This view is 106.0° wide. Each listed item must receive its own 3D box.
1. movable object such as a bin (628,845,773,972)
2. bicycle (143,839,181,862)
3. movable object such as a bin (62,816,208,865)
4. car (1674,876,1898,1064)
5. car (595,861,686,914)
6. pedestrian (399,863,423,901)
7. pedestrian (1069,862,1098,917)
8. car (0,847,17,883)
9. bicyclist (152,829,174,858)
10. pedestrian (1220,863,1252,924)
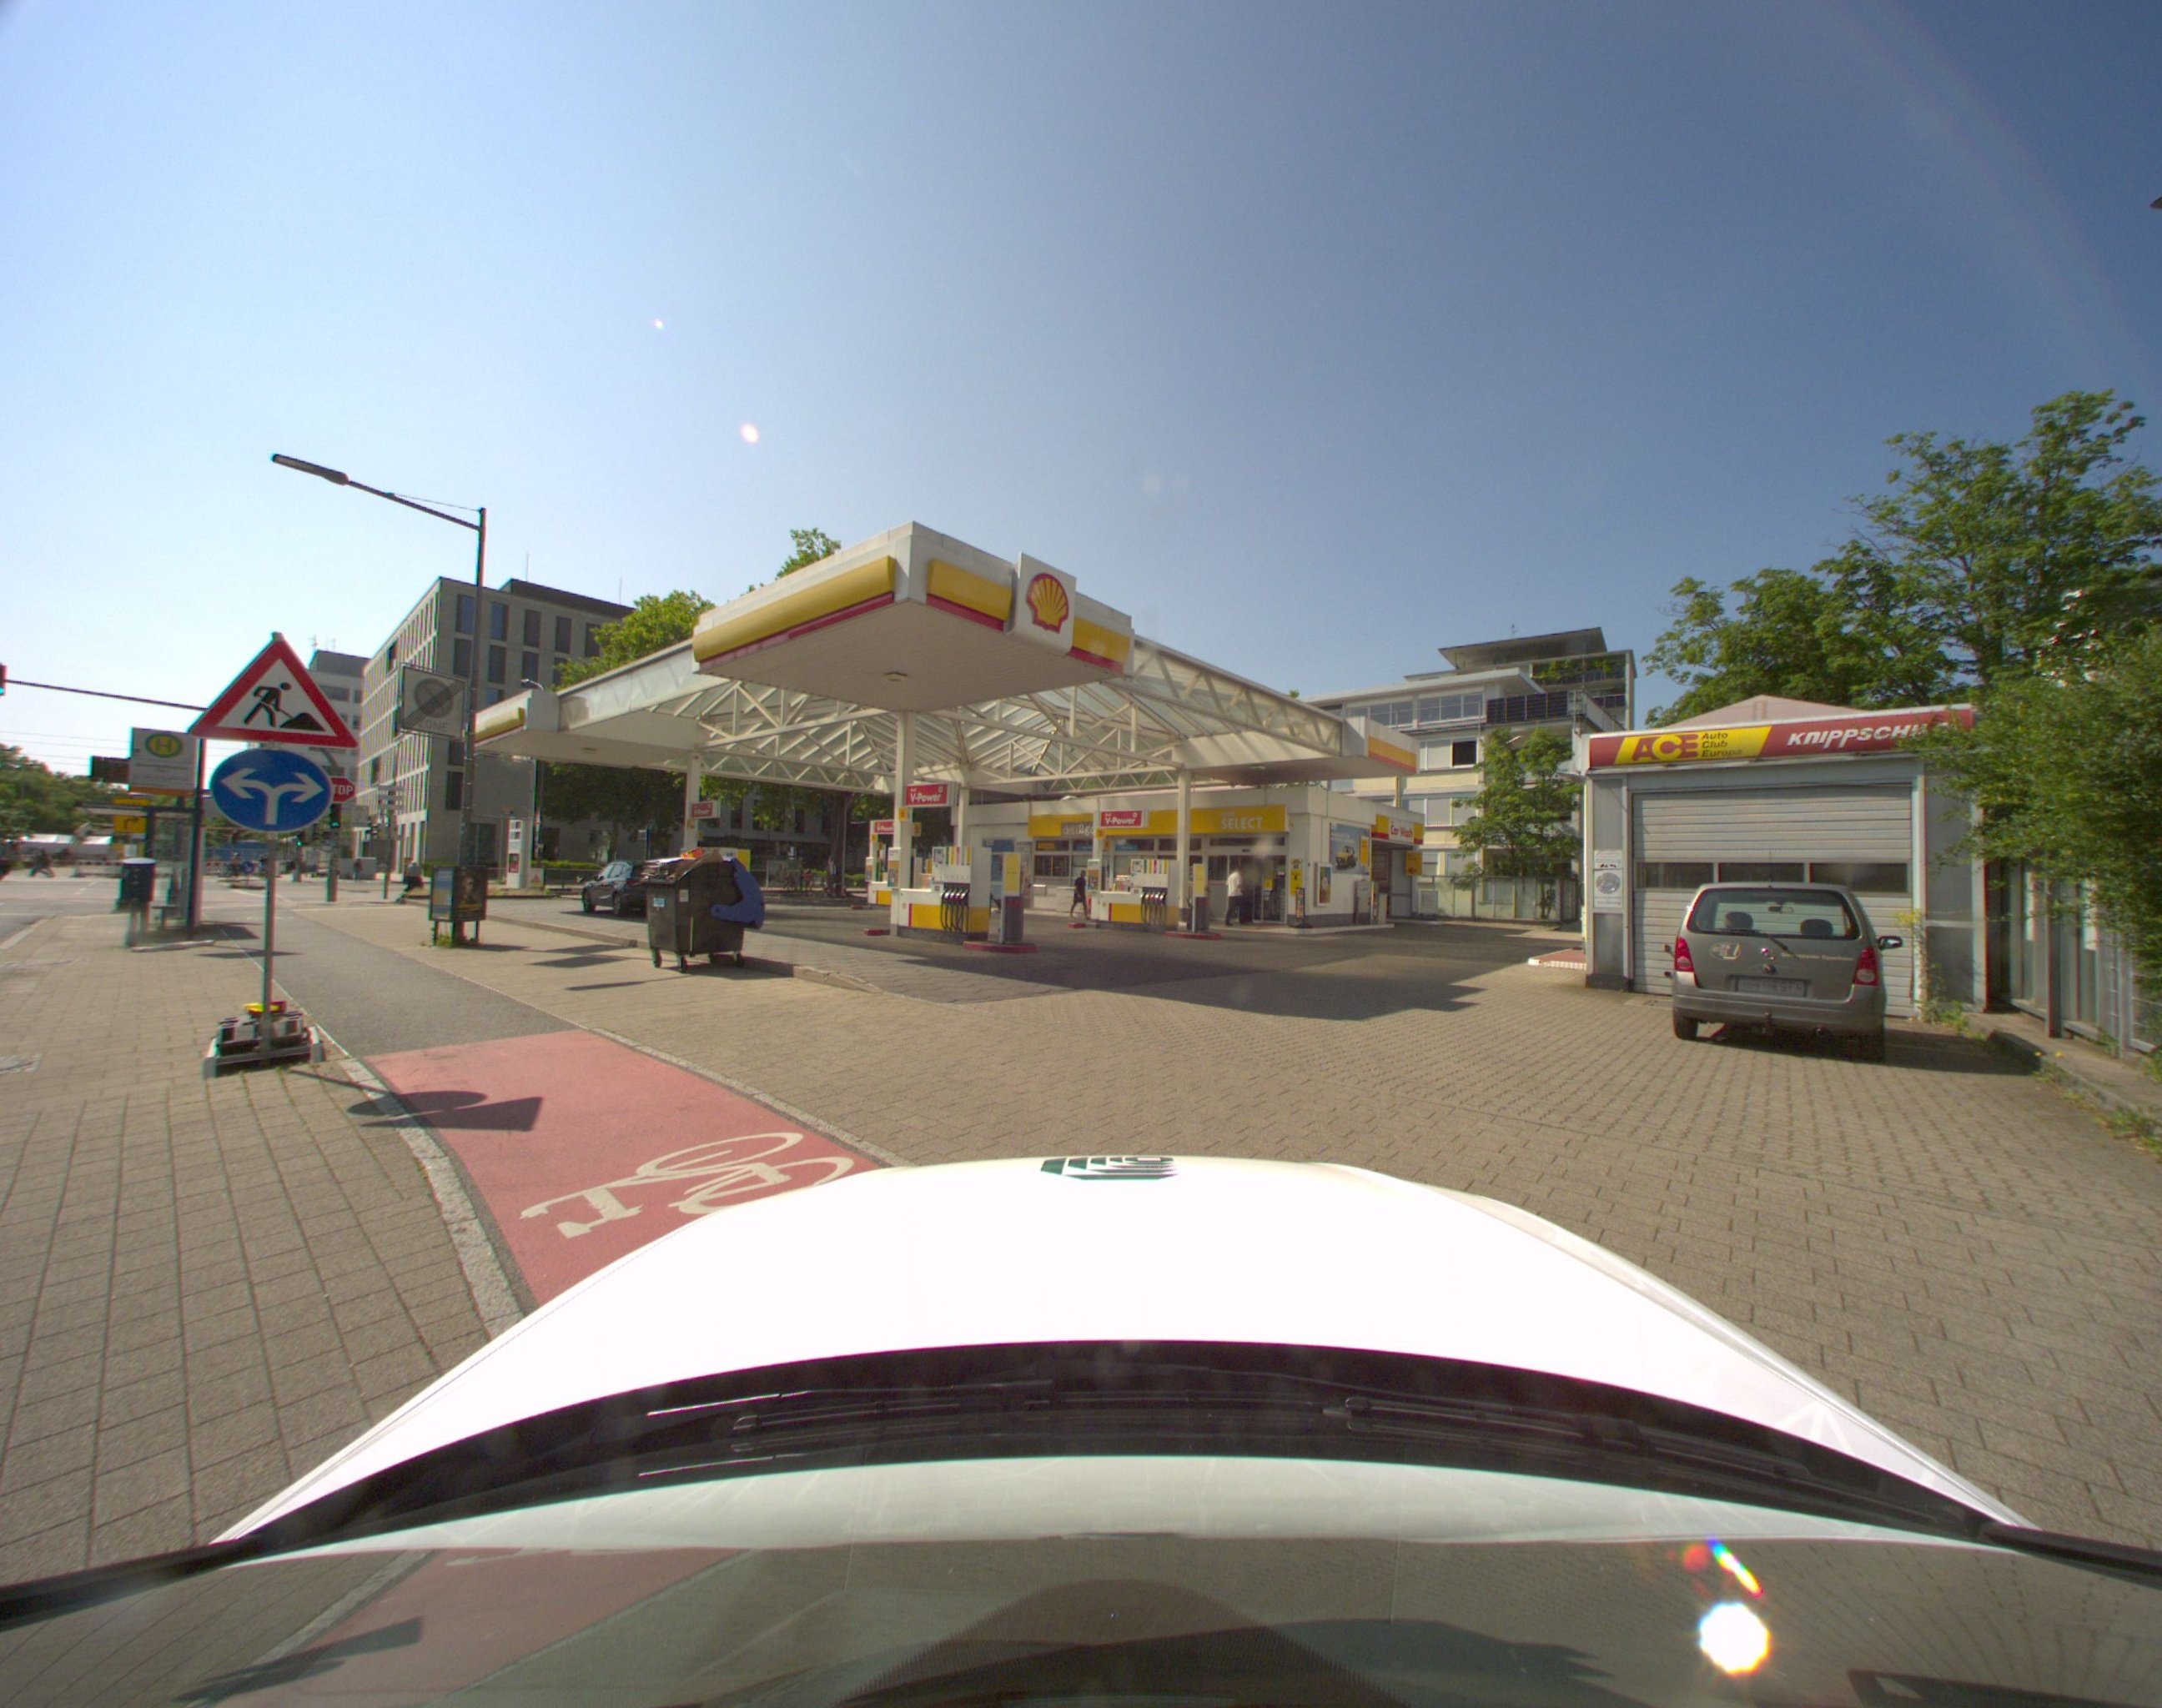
[{"bbox_3d":[-5.197,0.683,11.136,1.378,1.592,1.320,0,0,39],"label":"movable object such as a bin"},{"bbox_3d":[-83.275,-0.324,73.839,2.106,1.962,0.817,4,-4,-43],"label":"bicycle"},{"bbox_3d":[-100.259,-1.283,86.654,3.124,4.551,9.763,0,-3,43],"label":"movable object such as a bin"},{"bbox_3d":[7.803,1.109,9.002,1.570,1.596,3.855,0,-3,43],"label":"car"},{"bbox_3d":[-12.649,0.943,23.295,1.663,1.398,3.600,3,-3,-38],"label":"car"},{"bbox_3d":[-27.857,1.161,33.867,0.455,1.544,0.624,0,-3,40],"label":"pedestrian"},{"bbox_3d":[0.083,1.195,27.373,0.679,1.822,0.623,4,-3,-42],"label":"pedestrian"},{"bbox_3d":[-49.657,0.412,35.110,1.985,1.639,4.126,1,-2,2],"label":"car"},{"bbox_3d":[-83.262,-0.938,73.853,1.079,2.575,0.817,5,-4,-43],"label":"bicyclist"},{"bbox_3d":[4.839,1.222,25.407,0.848,1.838,0.749,1,-3,19],"label":"pedestrian"}]
